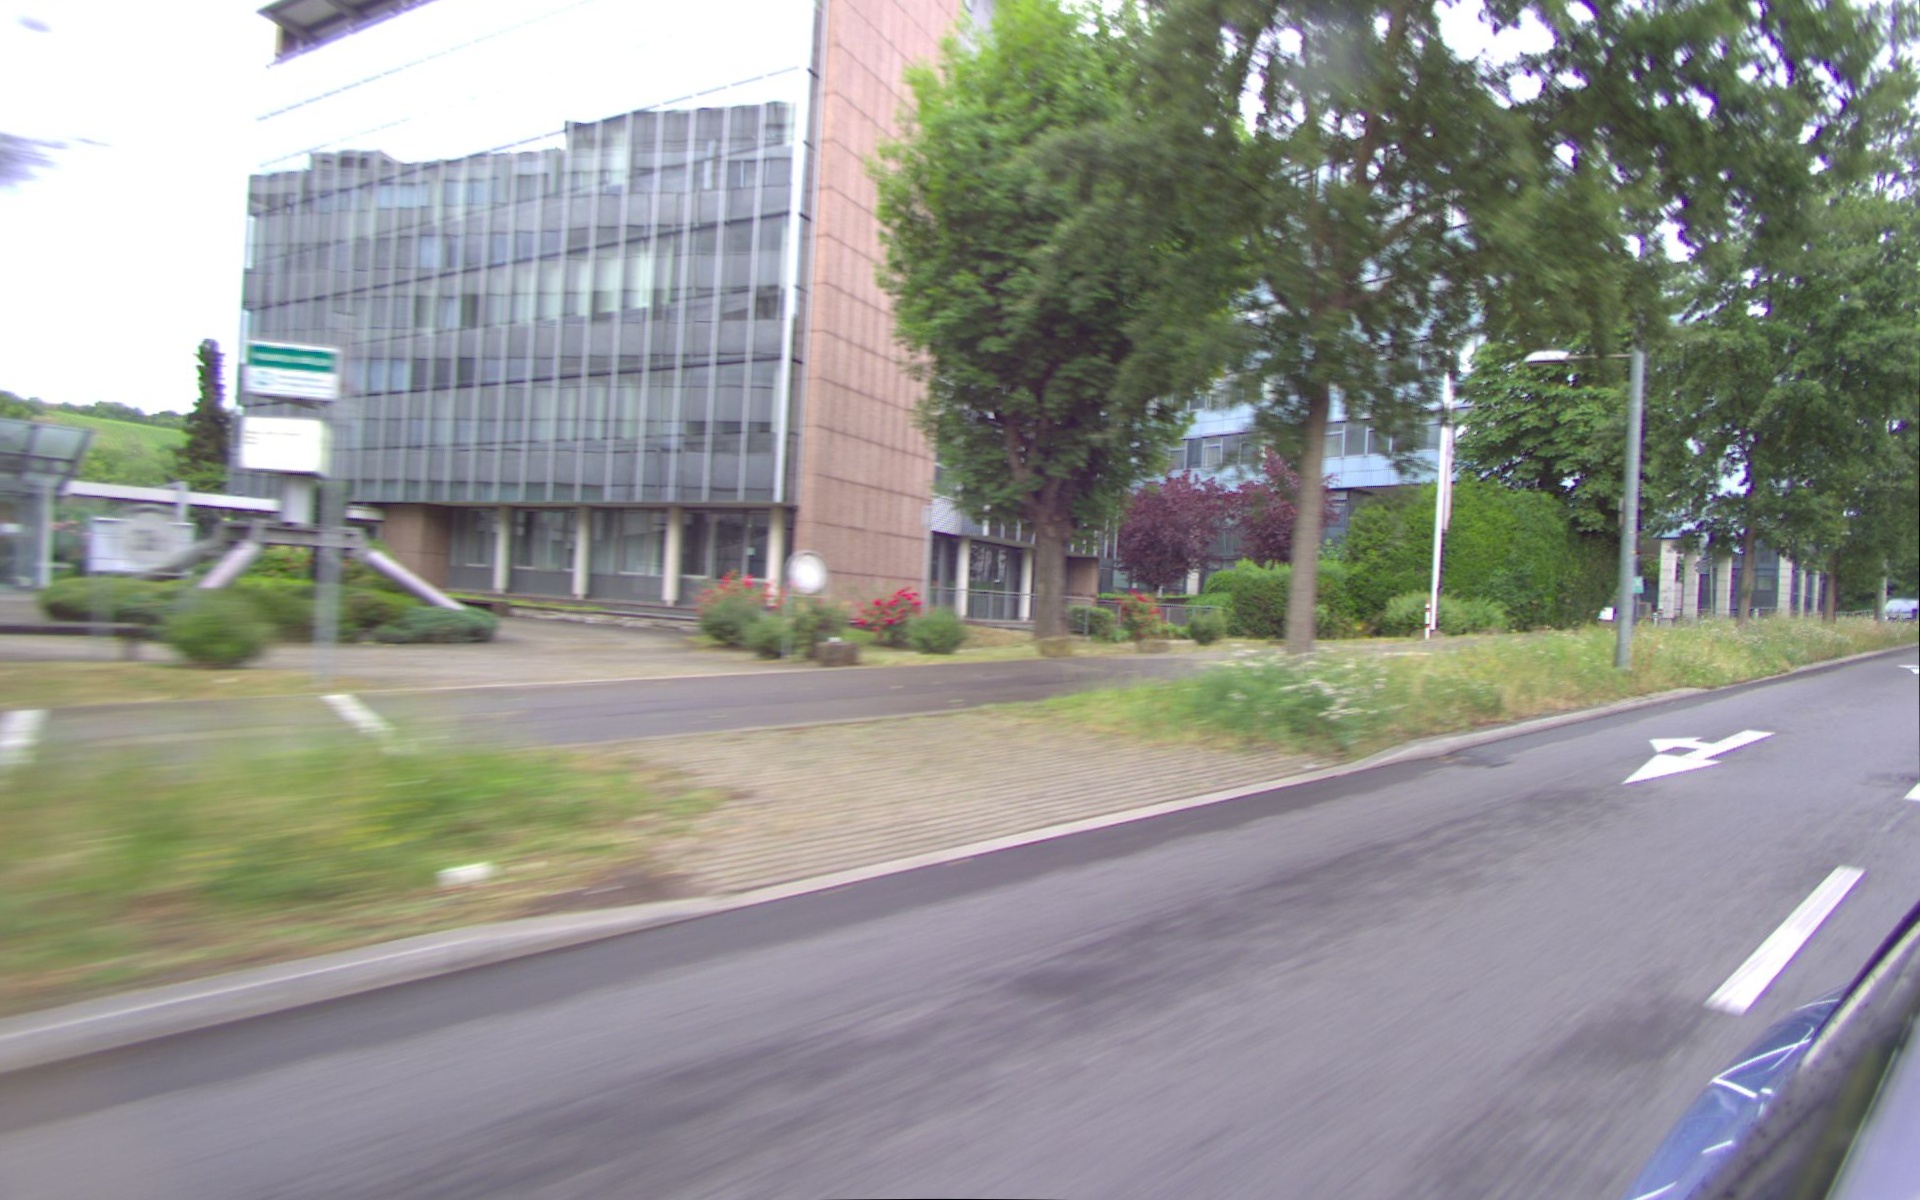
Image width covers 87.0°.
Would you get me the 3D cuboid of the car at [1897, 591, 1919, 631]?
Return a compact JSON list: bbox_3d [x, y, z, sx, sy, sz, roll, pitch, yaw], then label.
[{"bbox_3d":[41.954,0.468,43.629,4.294,1.691,1.814,0,1,-41],"label":"car"}]
